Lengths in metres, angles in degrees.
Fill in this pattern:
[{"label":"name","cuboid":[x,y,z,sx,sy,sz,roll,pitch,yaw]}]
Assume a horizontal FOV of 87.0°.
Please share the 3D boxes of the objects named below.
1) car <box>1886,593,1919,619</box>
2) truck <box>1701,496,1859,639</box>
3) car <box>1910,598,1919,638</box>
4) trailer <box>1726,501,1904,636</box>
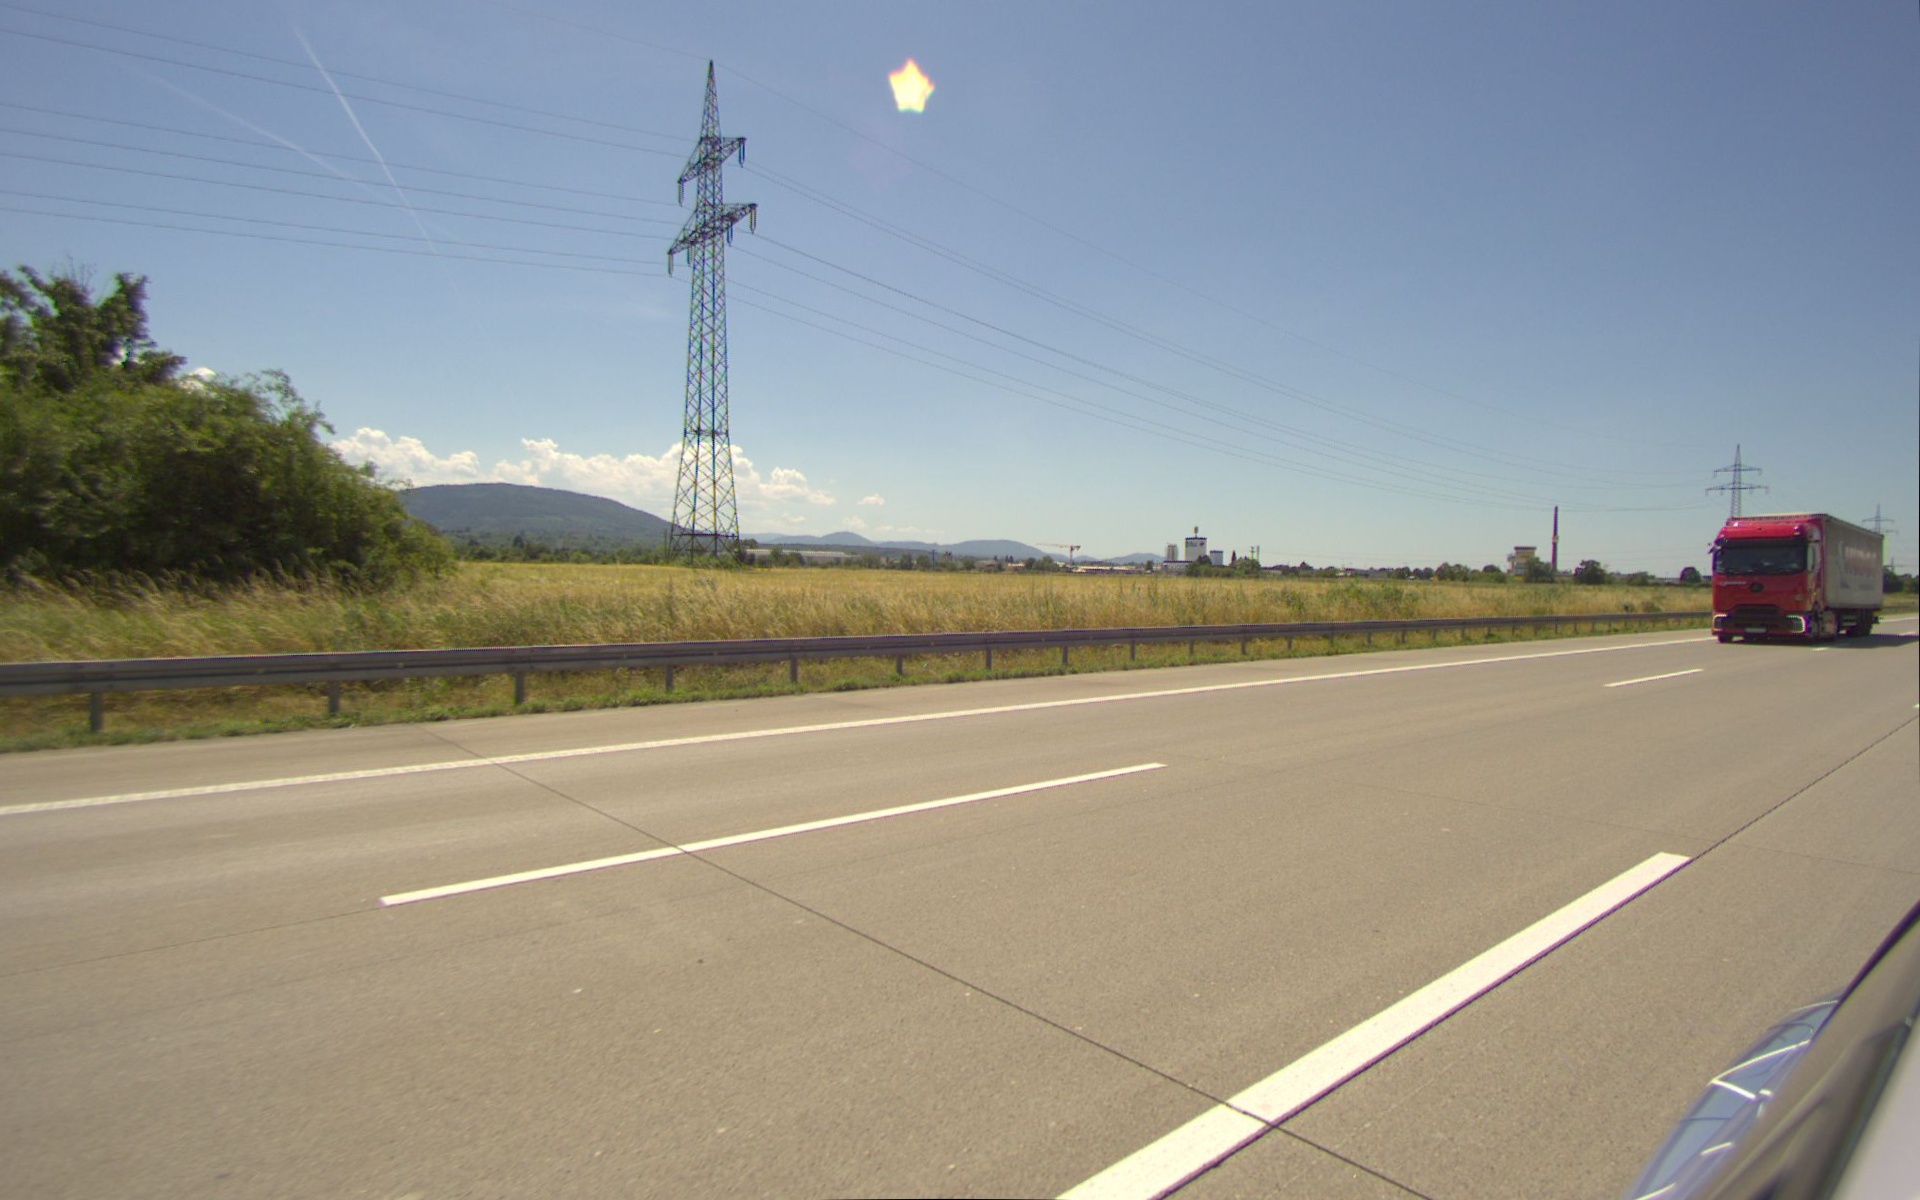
[{"label":"car","cuboid":[79.699,0.482,85.341,3.930,2.039,1.997,-1,0,-41]},{"label":"truck","cuboid":[26.569,-0.992,32.709,6.045,4.199,2.957,-1,0,-41]},{"label":"car","cuboid":[51.565,0.938,53.205,3.930,2.039,1.997,-1,0,-41]},{"label":"trailer","cuboid":[31.661,-1.061,37.134,13.569,4.198,2.957,-1,0,-41]}]
